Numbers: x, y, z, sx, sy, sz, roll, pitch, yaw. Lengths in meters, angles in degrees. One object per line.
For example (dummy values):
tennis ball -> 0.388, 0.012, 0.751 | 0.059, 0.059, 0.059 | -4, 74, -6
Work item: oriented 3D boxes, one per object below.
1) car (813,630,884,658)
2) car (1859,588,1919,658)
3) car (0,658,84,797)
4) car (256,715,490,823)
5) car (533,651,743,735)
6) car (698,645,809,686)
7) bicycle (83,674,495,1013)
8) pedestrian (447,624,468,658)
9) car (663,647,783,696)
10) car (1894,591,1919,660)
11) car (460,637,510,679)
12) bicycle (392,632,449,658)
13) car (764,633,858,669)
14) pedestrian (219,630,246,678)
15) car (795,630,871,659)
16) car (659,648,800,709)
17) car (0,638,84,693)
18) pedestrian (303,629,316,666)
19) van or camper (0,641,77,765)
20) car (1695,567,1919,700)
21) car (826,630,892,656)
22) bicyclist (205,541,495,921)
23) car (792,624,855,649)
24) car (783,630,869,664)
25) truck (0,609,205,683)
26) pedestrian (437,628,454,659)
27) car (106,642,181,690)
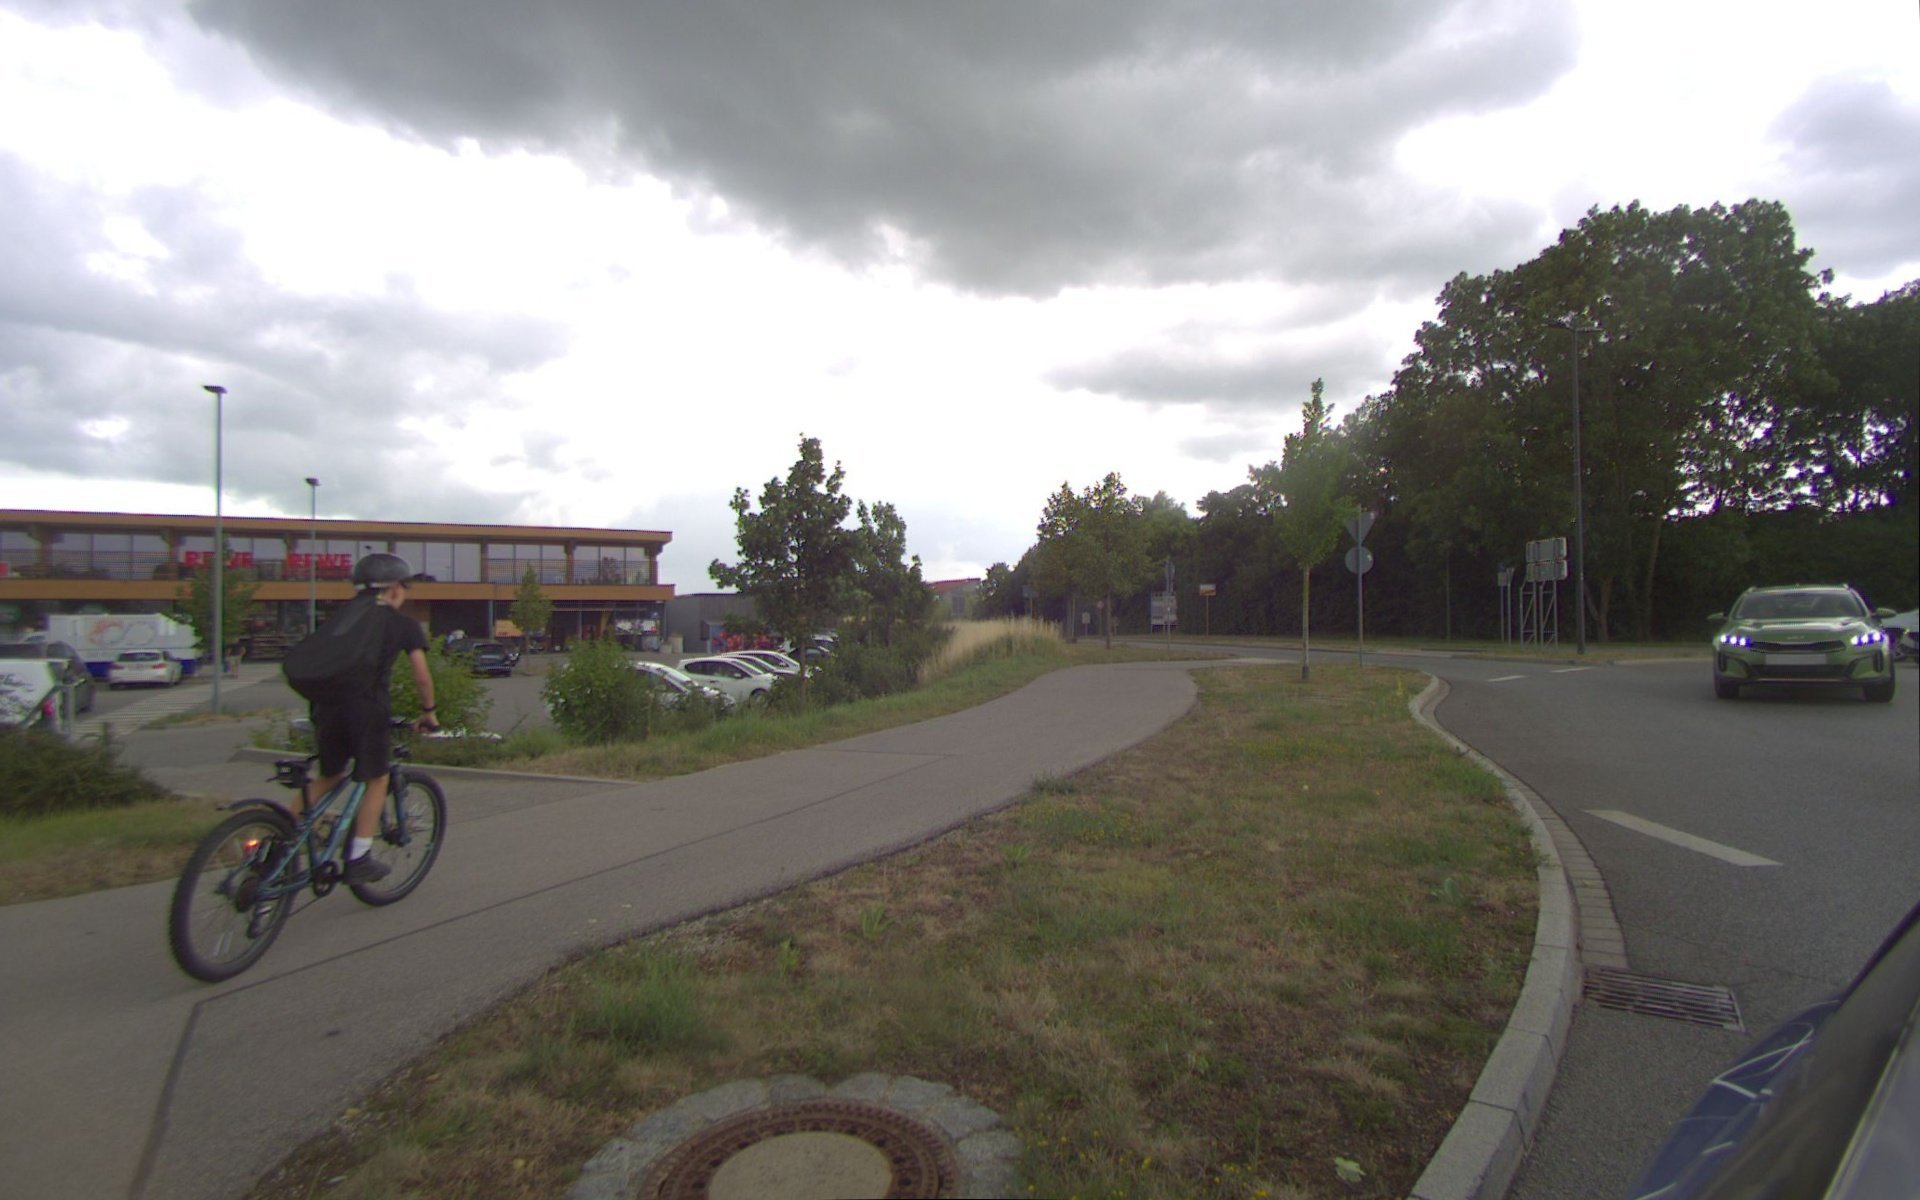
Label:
car -> -6.426, 2.529, 58.380 | 3.820, 1.483, 1.695 | -1, -1, 4
car -> 23.820, 0.487, 23.483 | 4.252, 1.622, 1.899 | -3, -2, 39
car -> -10.251, 1.244, 9.810 | 3.723, 1.223, 1.562 | -4, -3, 30
car -> -9.671, 2.699, 16.645 | 3.694, 1.390, 1.566 | -2, -1, 26
car -> -7.469, 2.147, 23.788 | 4.360, 1.694, 1.800 | 1, 0, 0
car -> -7.329, 2.325, 36.020 | 3.610, 1.311, 1.414 | -1, 0, 5
bicycle -> -2.609, 0.863, 4.191 | 0.488, 0.958, 1.712 | 0, 1, 4
pedestrian -> -29.812, 2.429, 60.022 | 0.912, 1.923, 0.792 | 1, -4, -41
car -> -7.512, 2.246, 32.333 | 3.600, 1.311, 1.719 | -2, 0, -9
car -> 20.634, 0.456, 19.140 | 4.190, 1.344, 1.927 | -1, -1, -3
car -> -20.216, 2.421, 42.996 | 1.681, 1.588, 3.673 | 0, -1, -29
bicycle -> -30.573, 2.549, 57.385 | 2.812, 1.326, 0.981 | -1, -1, -28
car -> -6.568, 2.235, 44.845 | 3.820, 1.483, 1.695 | -1, -1, 4
pedestrian -> -31.441, 2.320, 43.752 | 0.914, 2.039, 0.806 | 0, -1, -33
car -> -6.795, 2.375, 54.499 | 3.820, 1.483, 1.695 | -1, -1, 4
car -> -6.797, 2.310, 30.236 | 3.919, 1.527, 2.002 | -2, 0, -8
car -> -33.016, 2.280, 36.035 | 1.815, 1.747, 4.125 | -2, 0, -28
pedestrian -> -34.983, 2.532, 54.435 | 0.514, 1.974, 0.579 | 0, -1, -28
van or camper -> -18.683, 1.994, 17.727 | 4.727, 2.124, 1.761 | -4, -1, -43
car -> 11.656, 0.353, 14.131 | 1.912, 1.521, 4.825 | -3, 0, 33
car -> -6.225, 2.647, 62.325 | 3.820, 1.483, 1.695 | -1, -1, 4
bicyclist -> -2.565, 0.498, 4.356 | 0.711, 1.465, 0.868 | 0, 0, 3
car -> -8.831, 2.333, 65.202 | 3.917, 1.462, 1.887 | -1, -1, -11
car -> -6.363, 2.236, 48.329 | 3.820, 1.483, 1.695 | -1, -1, 4
truck -> -36.260, 1.852, 42.408 | 7.115, 2.843, 2.978 | 0, -1, -32
pedestrian -> -28.330, 2.402, 55.710 | 0.789, 1.678, 0.751 | 0, -1, -30
car -> -30.409, 2.420, 37.781 | 1.698, 1.549, 4.002 | 0, -1, -32
